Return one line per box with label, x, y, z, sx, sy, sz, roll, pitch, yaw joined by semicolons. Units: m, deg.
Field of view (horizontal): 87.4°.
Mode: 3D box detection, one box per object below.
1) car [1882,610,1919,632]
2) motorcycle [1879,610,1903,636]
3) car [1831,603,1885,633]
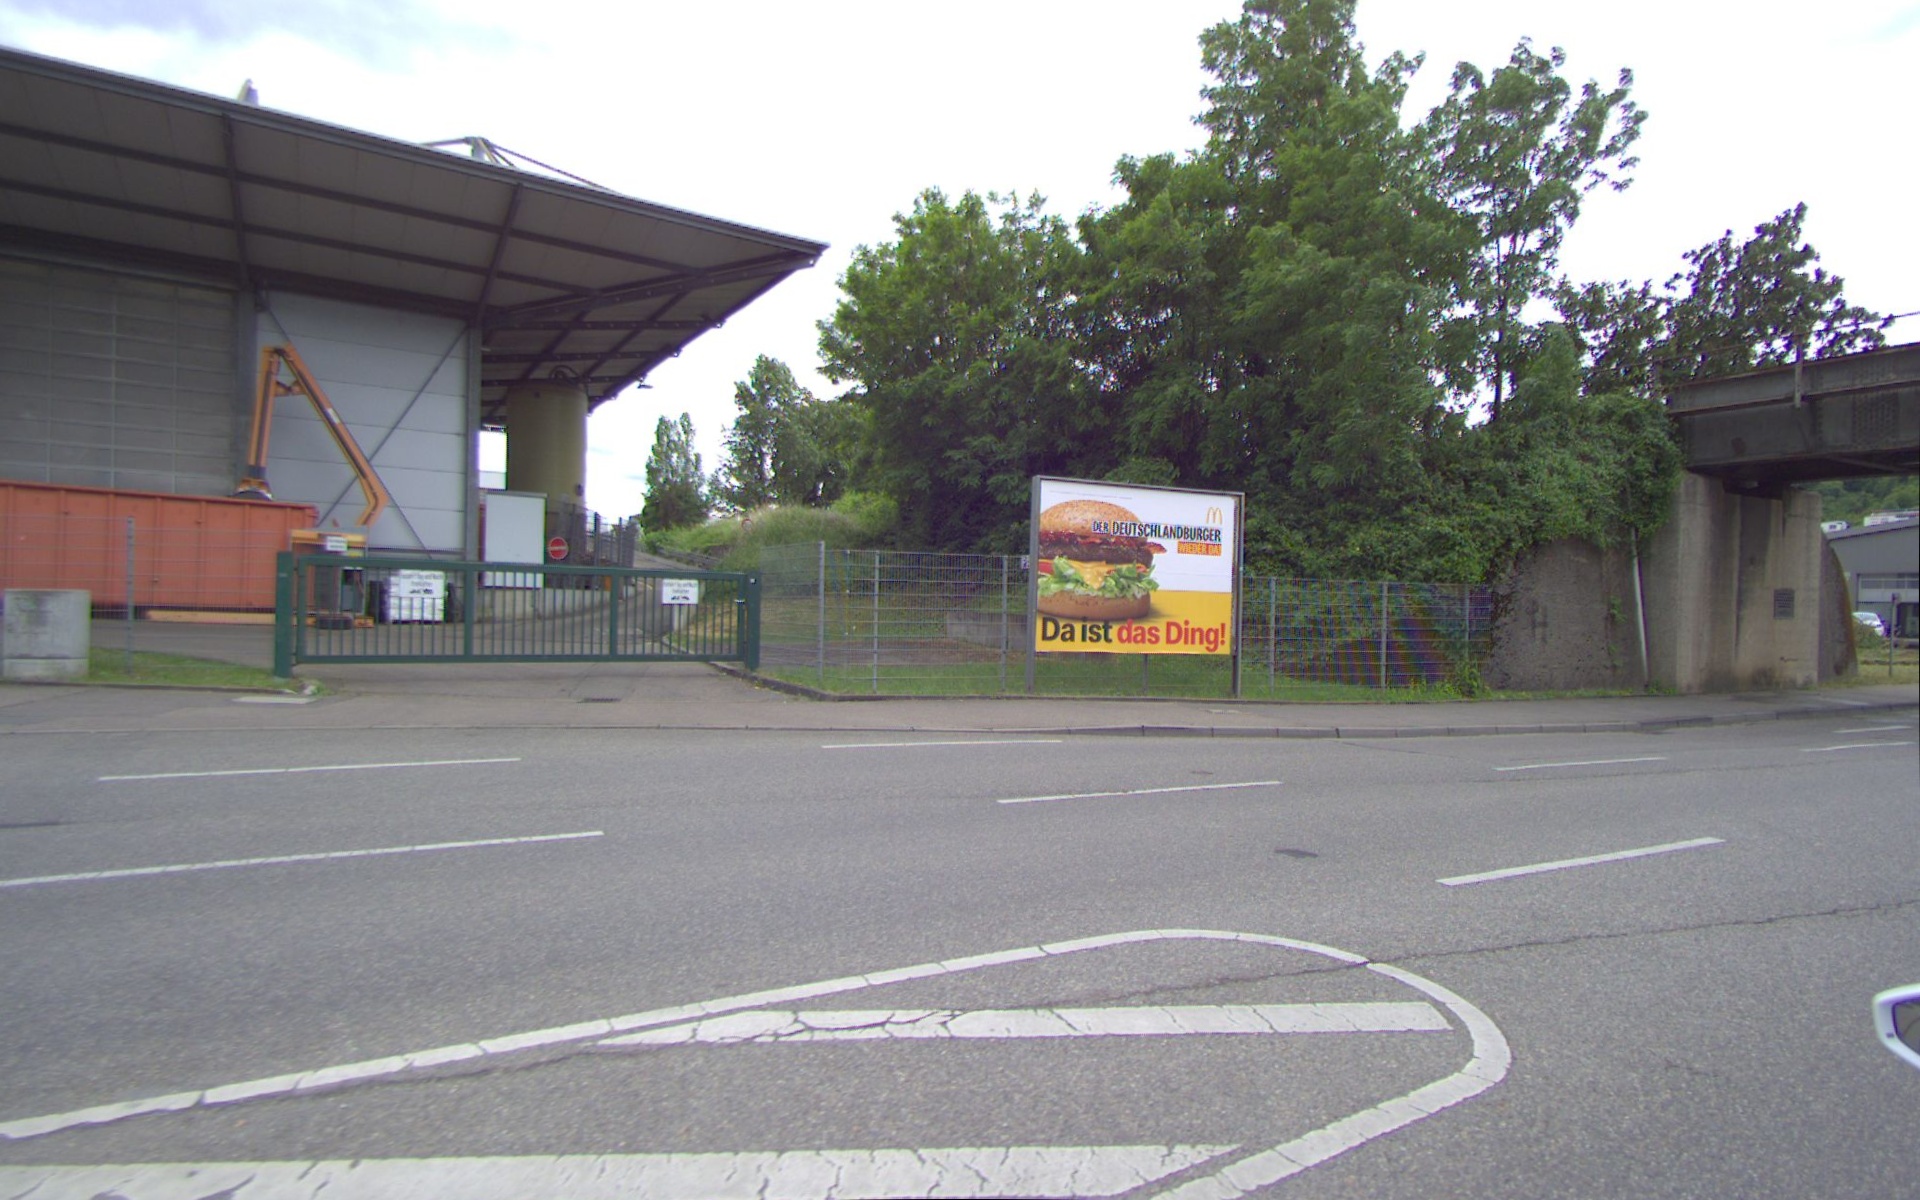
car;80.877;1.786;85.109;3.945;1.751;1.988;2;0;44
motorcycle;63.942;1.561;68.990;2.343;1.733;0.833;1;0;-38
car;48.492;0.956;54.314;1.970;1.556;3.981;2;0;40
